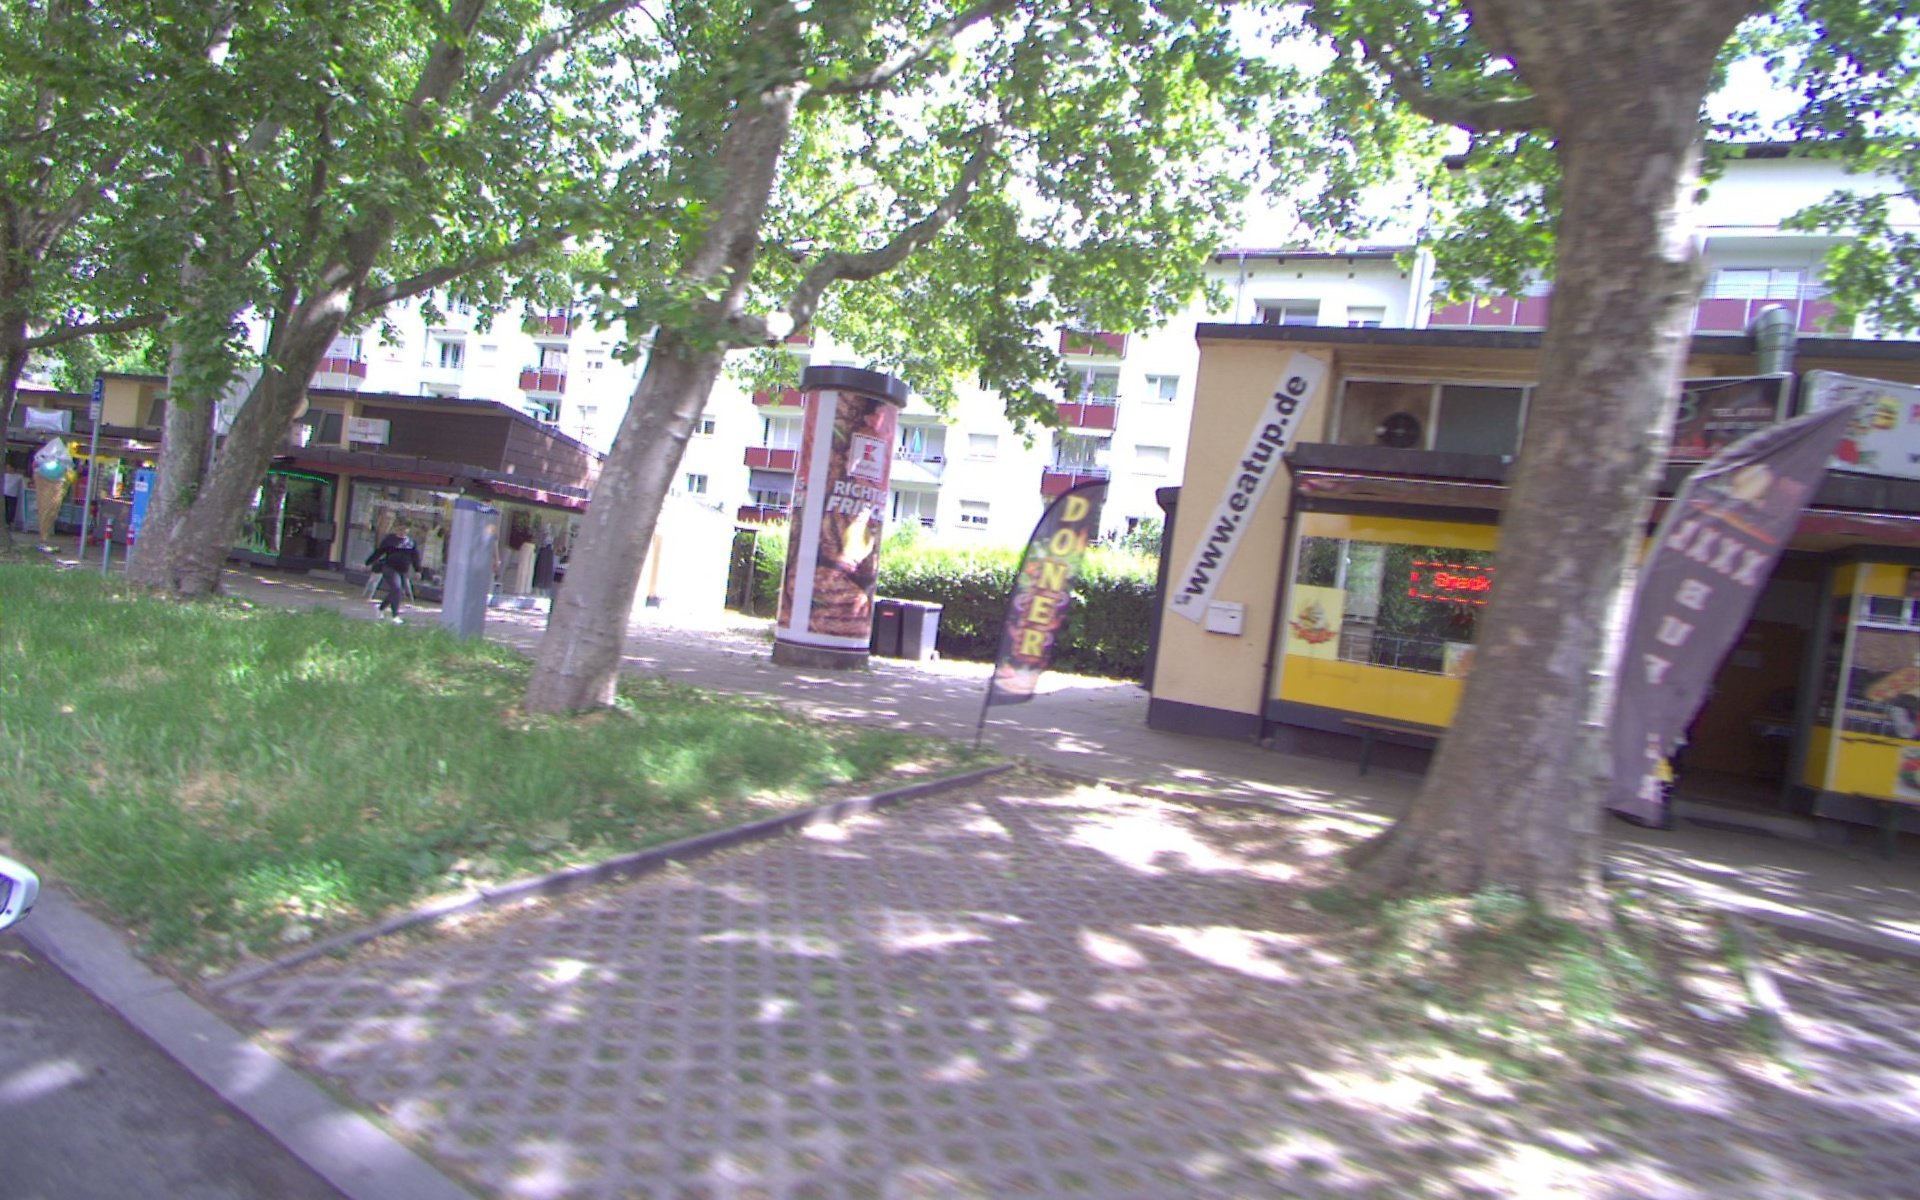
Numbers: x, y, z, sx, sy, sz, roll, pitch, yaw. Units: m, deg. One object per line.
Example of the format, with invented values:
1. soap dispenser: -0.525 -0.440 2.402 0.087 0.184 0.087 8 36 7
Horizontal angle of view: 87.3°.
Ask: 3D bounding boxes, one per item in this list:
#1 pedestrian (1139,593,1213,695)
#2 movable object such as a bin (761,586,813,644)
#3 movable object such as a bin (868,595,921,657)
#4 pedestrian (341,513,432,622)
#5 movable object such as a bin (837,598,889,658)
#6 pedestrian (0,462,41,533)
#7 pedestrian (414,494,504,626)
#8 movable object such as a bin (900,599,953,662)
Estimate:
1. pedestrian: 3.571 0.721 16.619 0.892 1.554 0.752 7 1 25
2. movable object such as a bin: -3.311 0.288 19.315 0.636 1.029 0.625 7 1 28
3. movable object such as a bin: -1.197 0.486 18.495 0.636 1.046 0.625 7 1 28
4. pedestrian: -8.444 -0.480 14.804 1.011 1.465 0.626 7 1 32
5. movable object such as a bin: -1.809 0.525 18.775 0.636 1.046 0.625 7 1 28
6. pedestrian: -25.750 -2.784 27.283 0.911 1.824 0.604 5 1 -14
7. pedestrian: -7.655 -0.602 15.378 0.926 1.908 0.743 7 2 31
8. movable object such as a bin: -0.600 0.560 18.187 0.636 1.046 0.625 7 1 28
